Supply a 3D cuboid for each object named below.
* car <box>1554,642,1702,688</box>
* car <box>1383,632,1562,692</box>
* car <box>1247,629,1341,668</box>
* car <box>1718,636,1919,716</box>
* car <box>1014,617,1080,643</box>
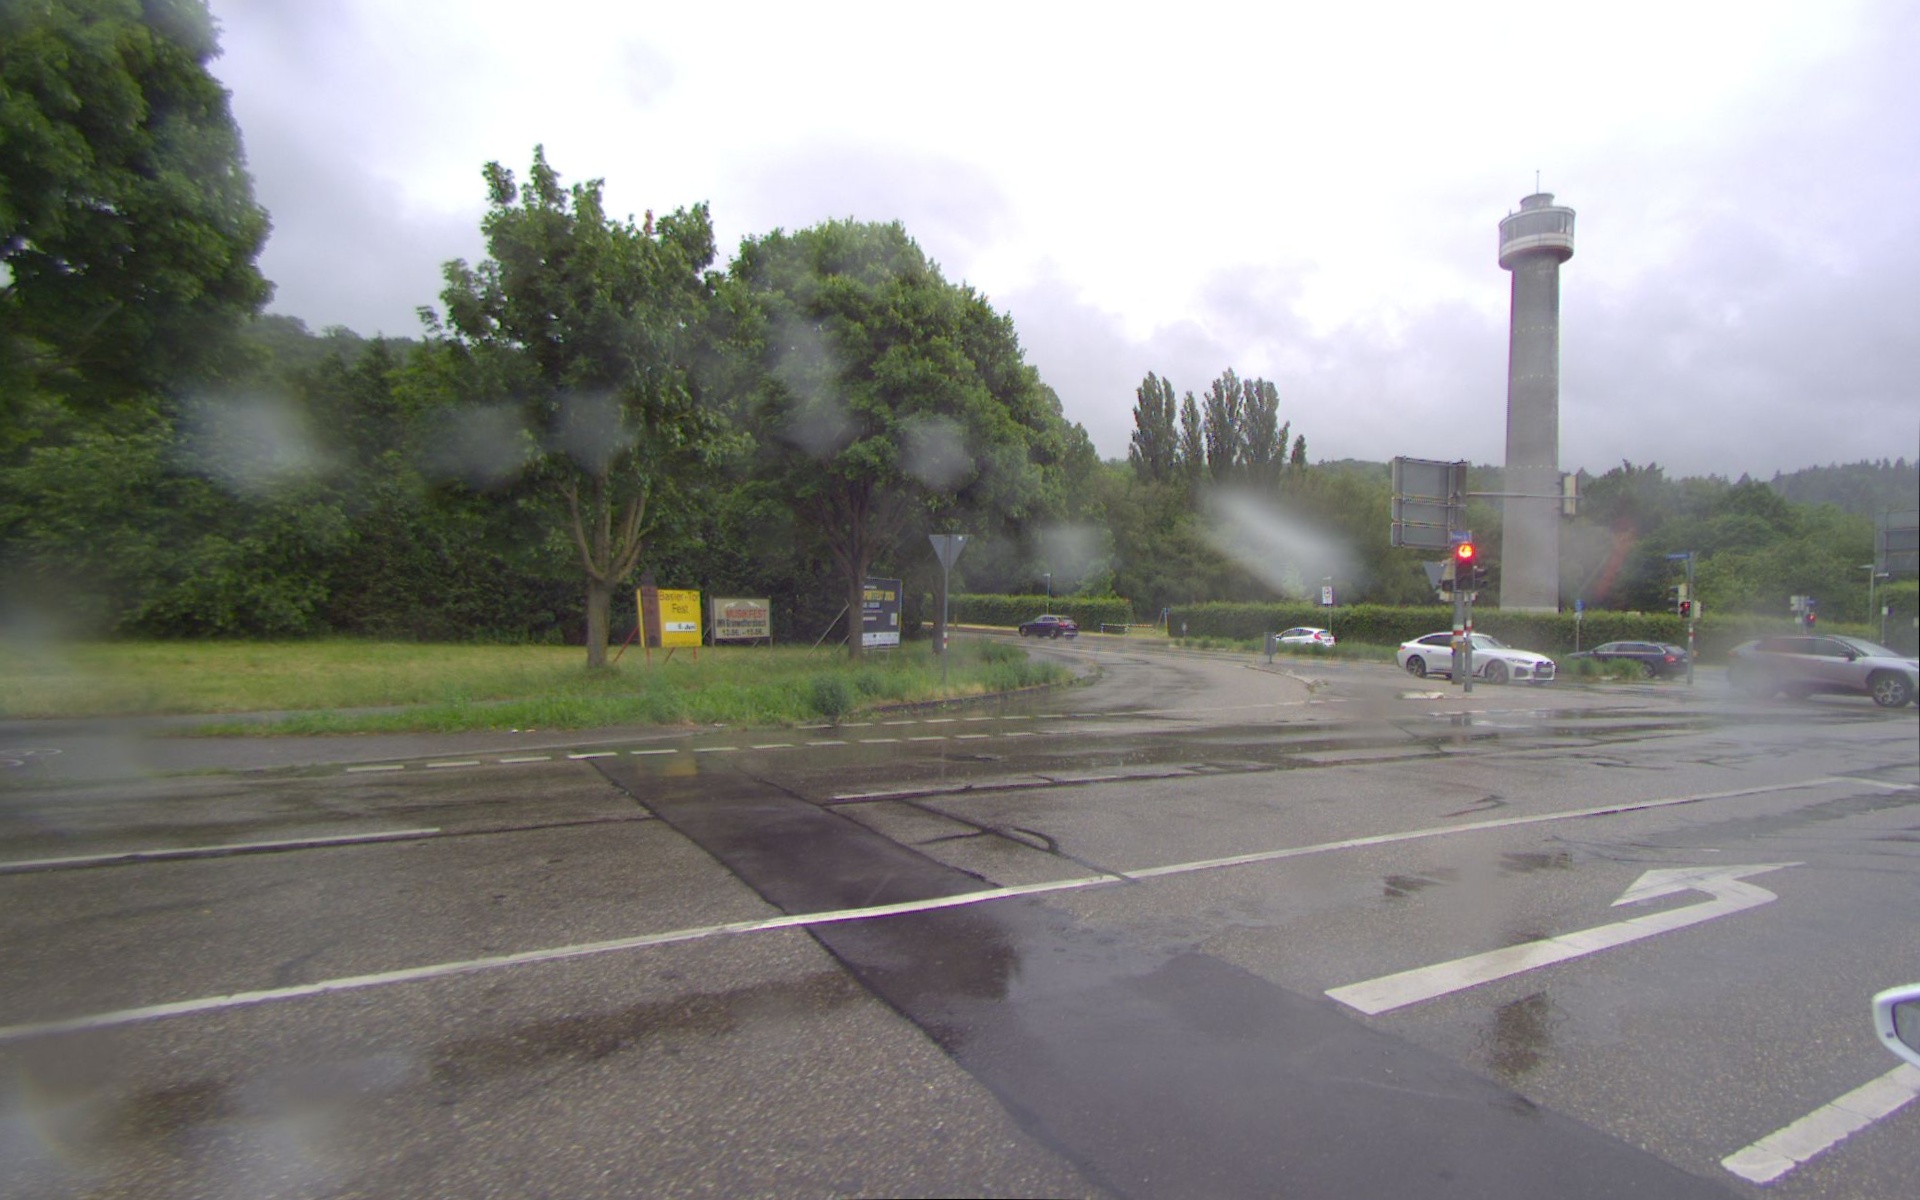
[{"bbox_3d":[26.704,2.566,40.303,1.801,1.574,4.648,2,-1,-30],"label":"car"},{"bbox_3d":[15.443,1.835,30.596,1.773,1.574,4.872,2,-1,-22],"label":"car"},{"bbox_3d":[18.079,2.594,54.555,1.897,1.941,4.636,2,-1,-36],"label":"car"},{"bbox_3d":[21.708,1.794,24.727,1.885,1.600,4.517,2,0,-22],"label":"car"},{"bbox_3d":[6.013,2.086,69.917,1.808,1.660,4.629,2,-1,-40],"label":"car"}]
